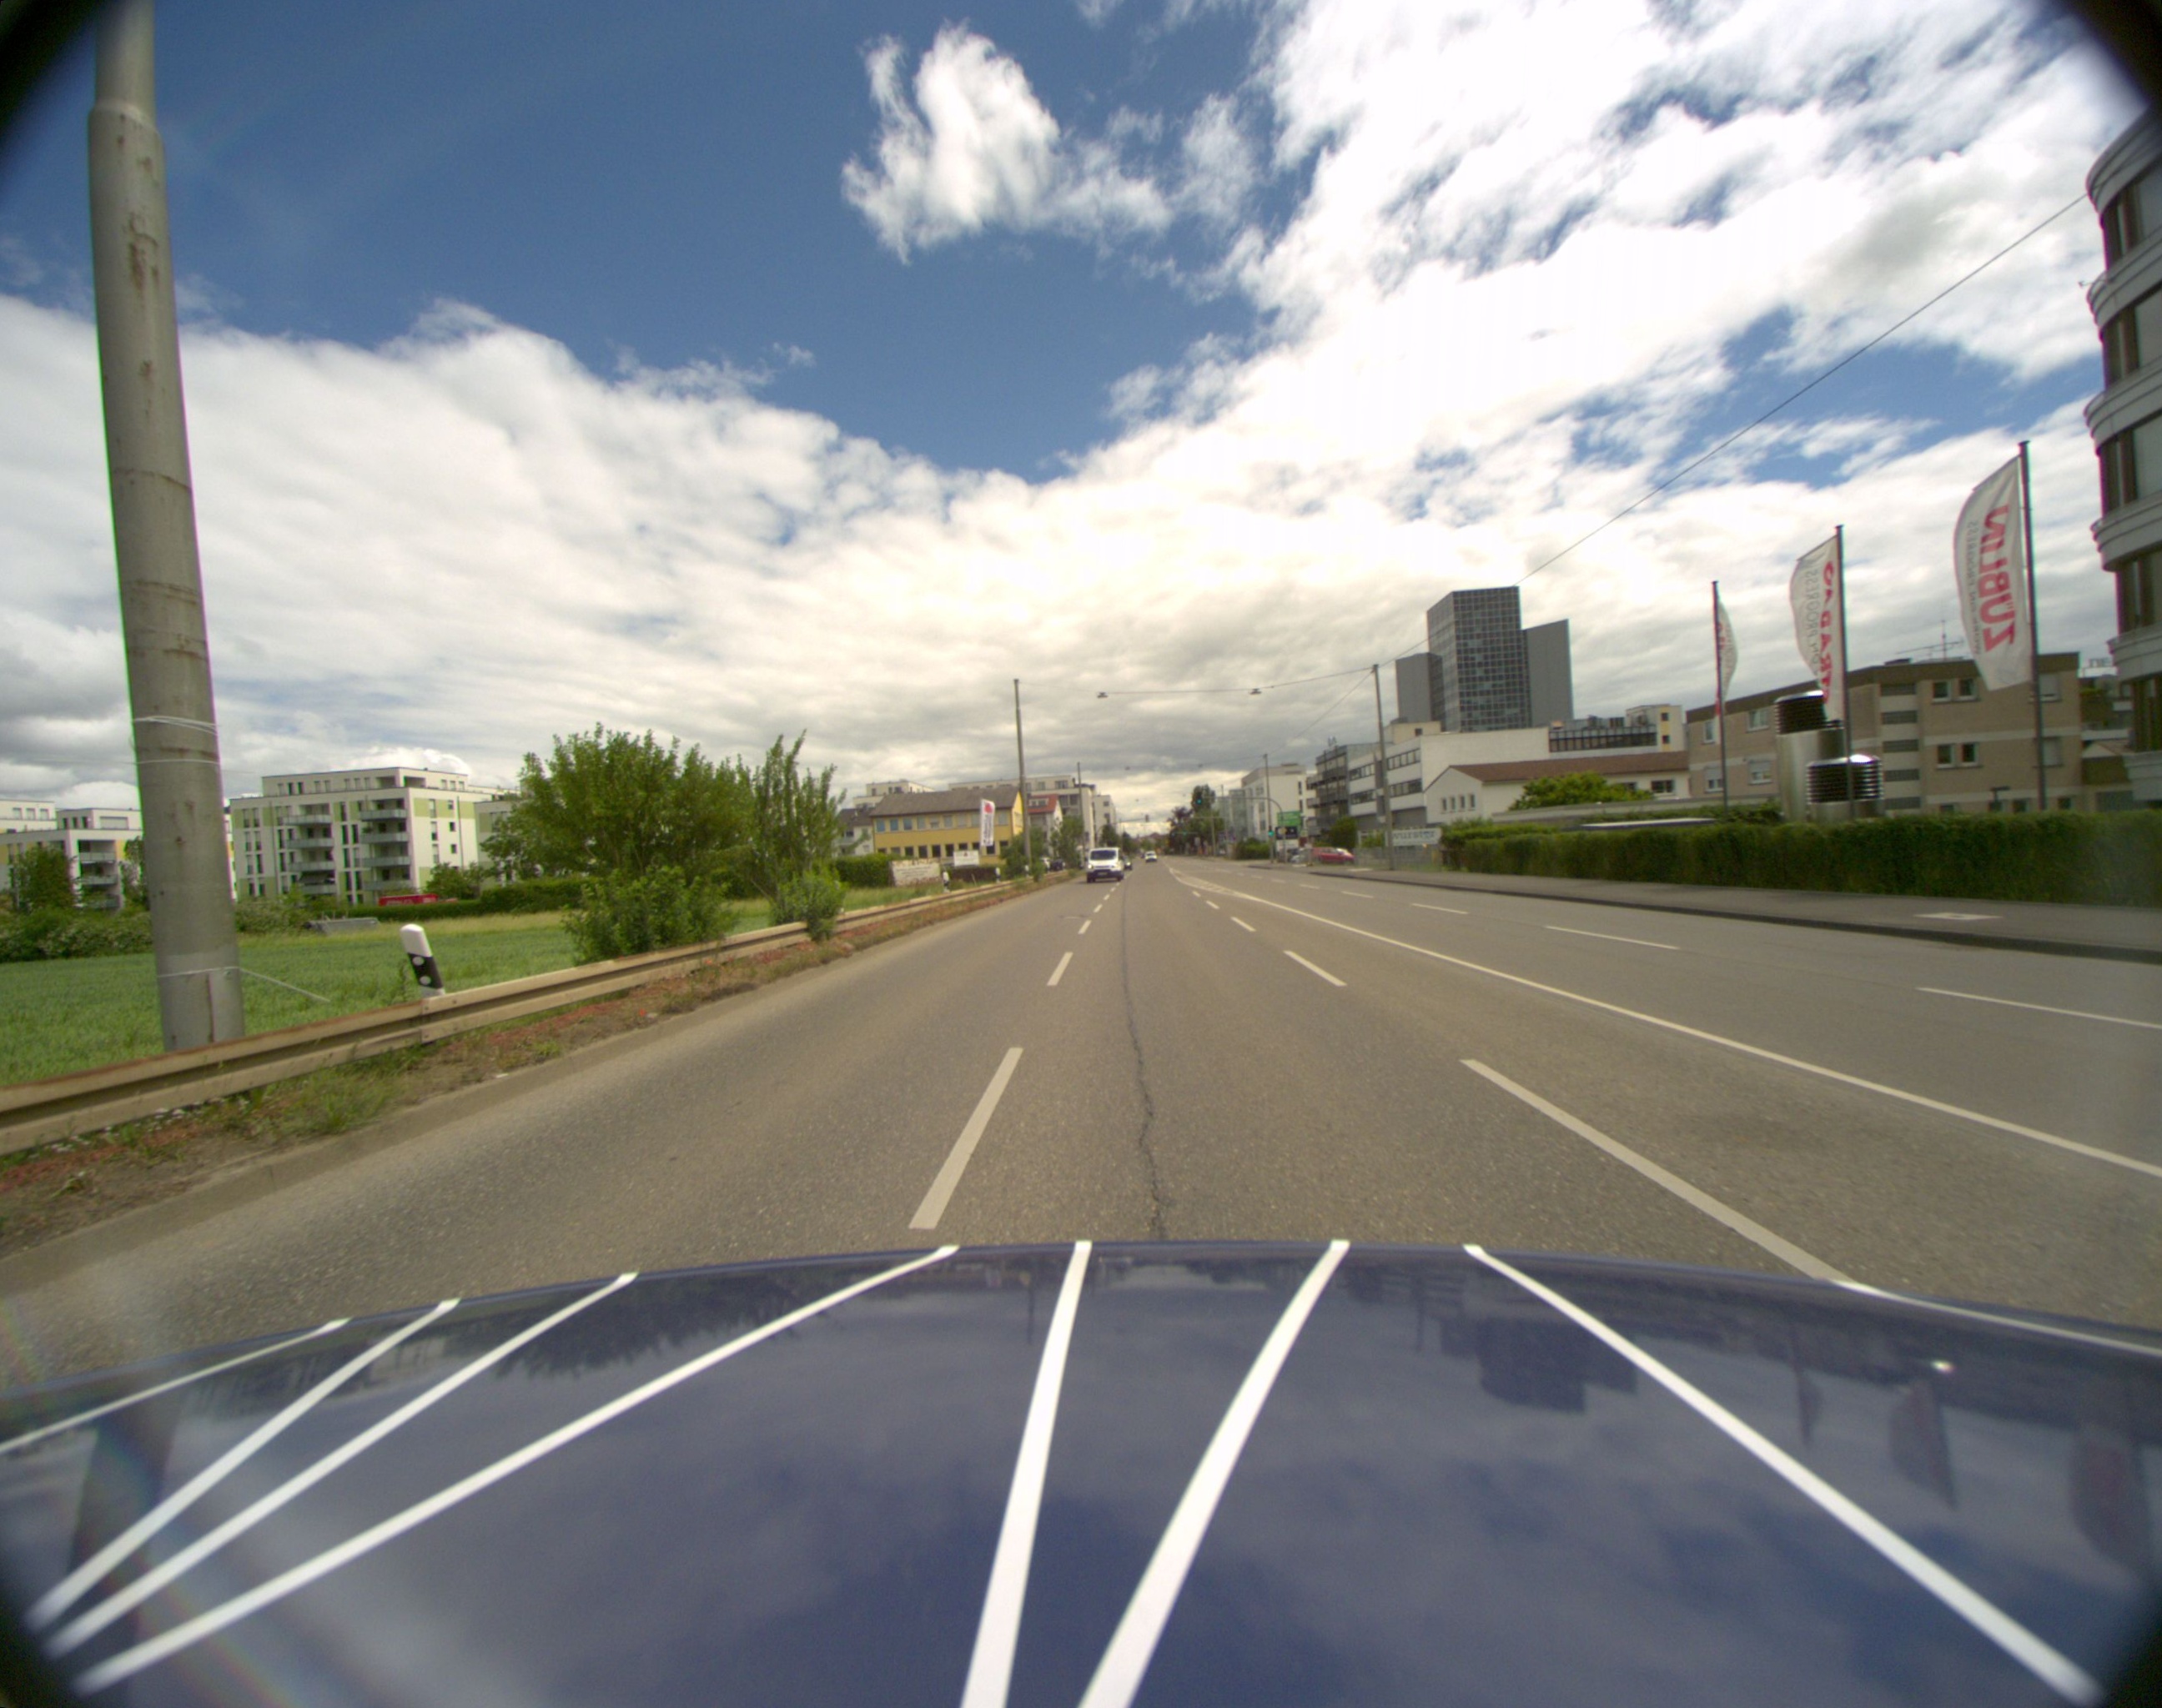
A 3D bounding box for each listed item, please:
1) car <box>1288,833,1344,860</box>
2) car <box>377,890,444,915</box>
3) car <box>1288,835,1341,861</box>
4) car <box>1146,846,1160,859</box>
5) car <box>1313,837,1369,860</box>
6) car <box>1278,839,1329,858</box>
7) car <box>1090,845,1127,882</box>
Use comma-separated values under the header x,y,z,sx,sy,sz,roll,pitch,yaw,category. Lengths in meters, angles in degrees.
x,y,z,sx,sy,sz,roll,pitch,yaw,category
19.659,-0.611,63.622,3.996,2.002,1.920,-3,1,2,car
-64.597,4.670,73.251,4.437,2.002,1.999,-3,1,-1,car
20.258,-0.533,65.973,3.996,2.002,1.904,-3,1,2,car
11.527,-0.273,121.029,1.800,2.002,3.999,-3,1,1,car
20.710,-0.420,60.601,3.801,1.602,1.836,-3,0,0,car
19.963,-0.459,68.357,3.996,1.324,1.824,-5,0,2,car
1.626,0.490,45.433,1.998,1.907,5.882,-3,1,2,car
